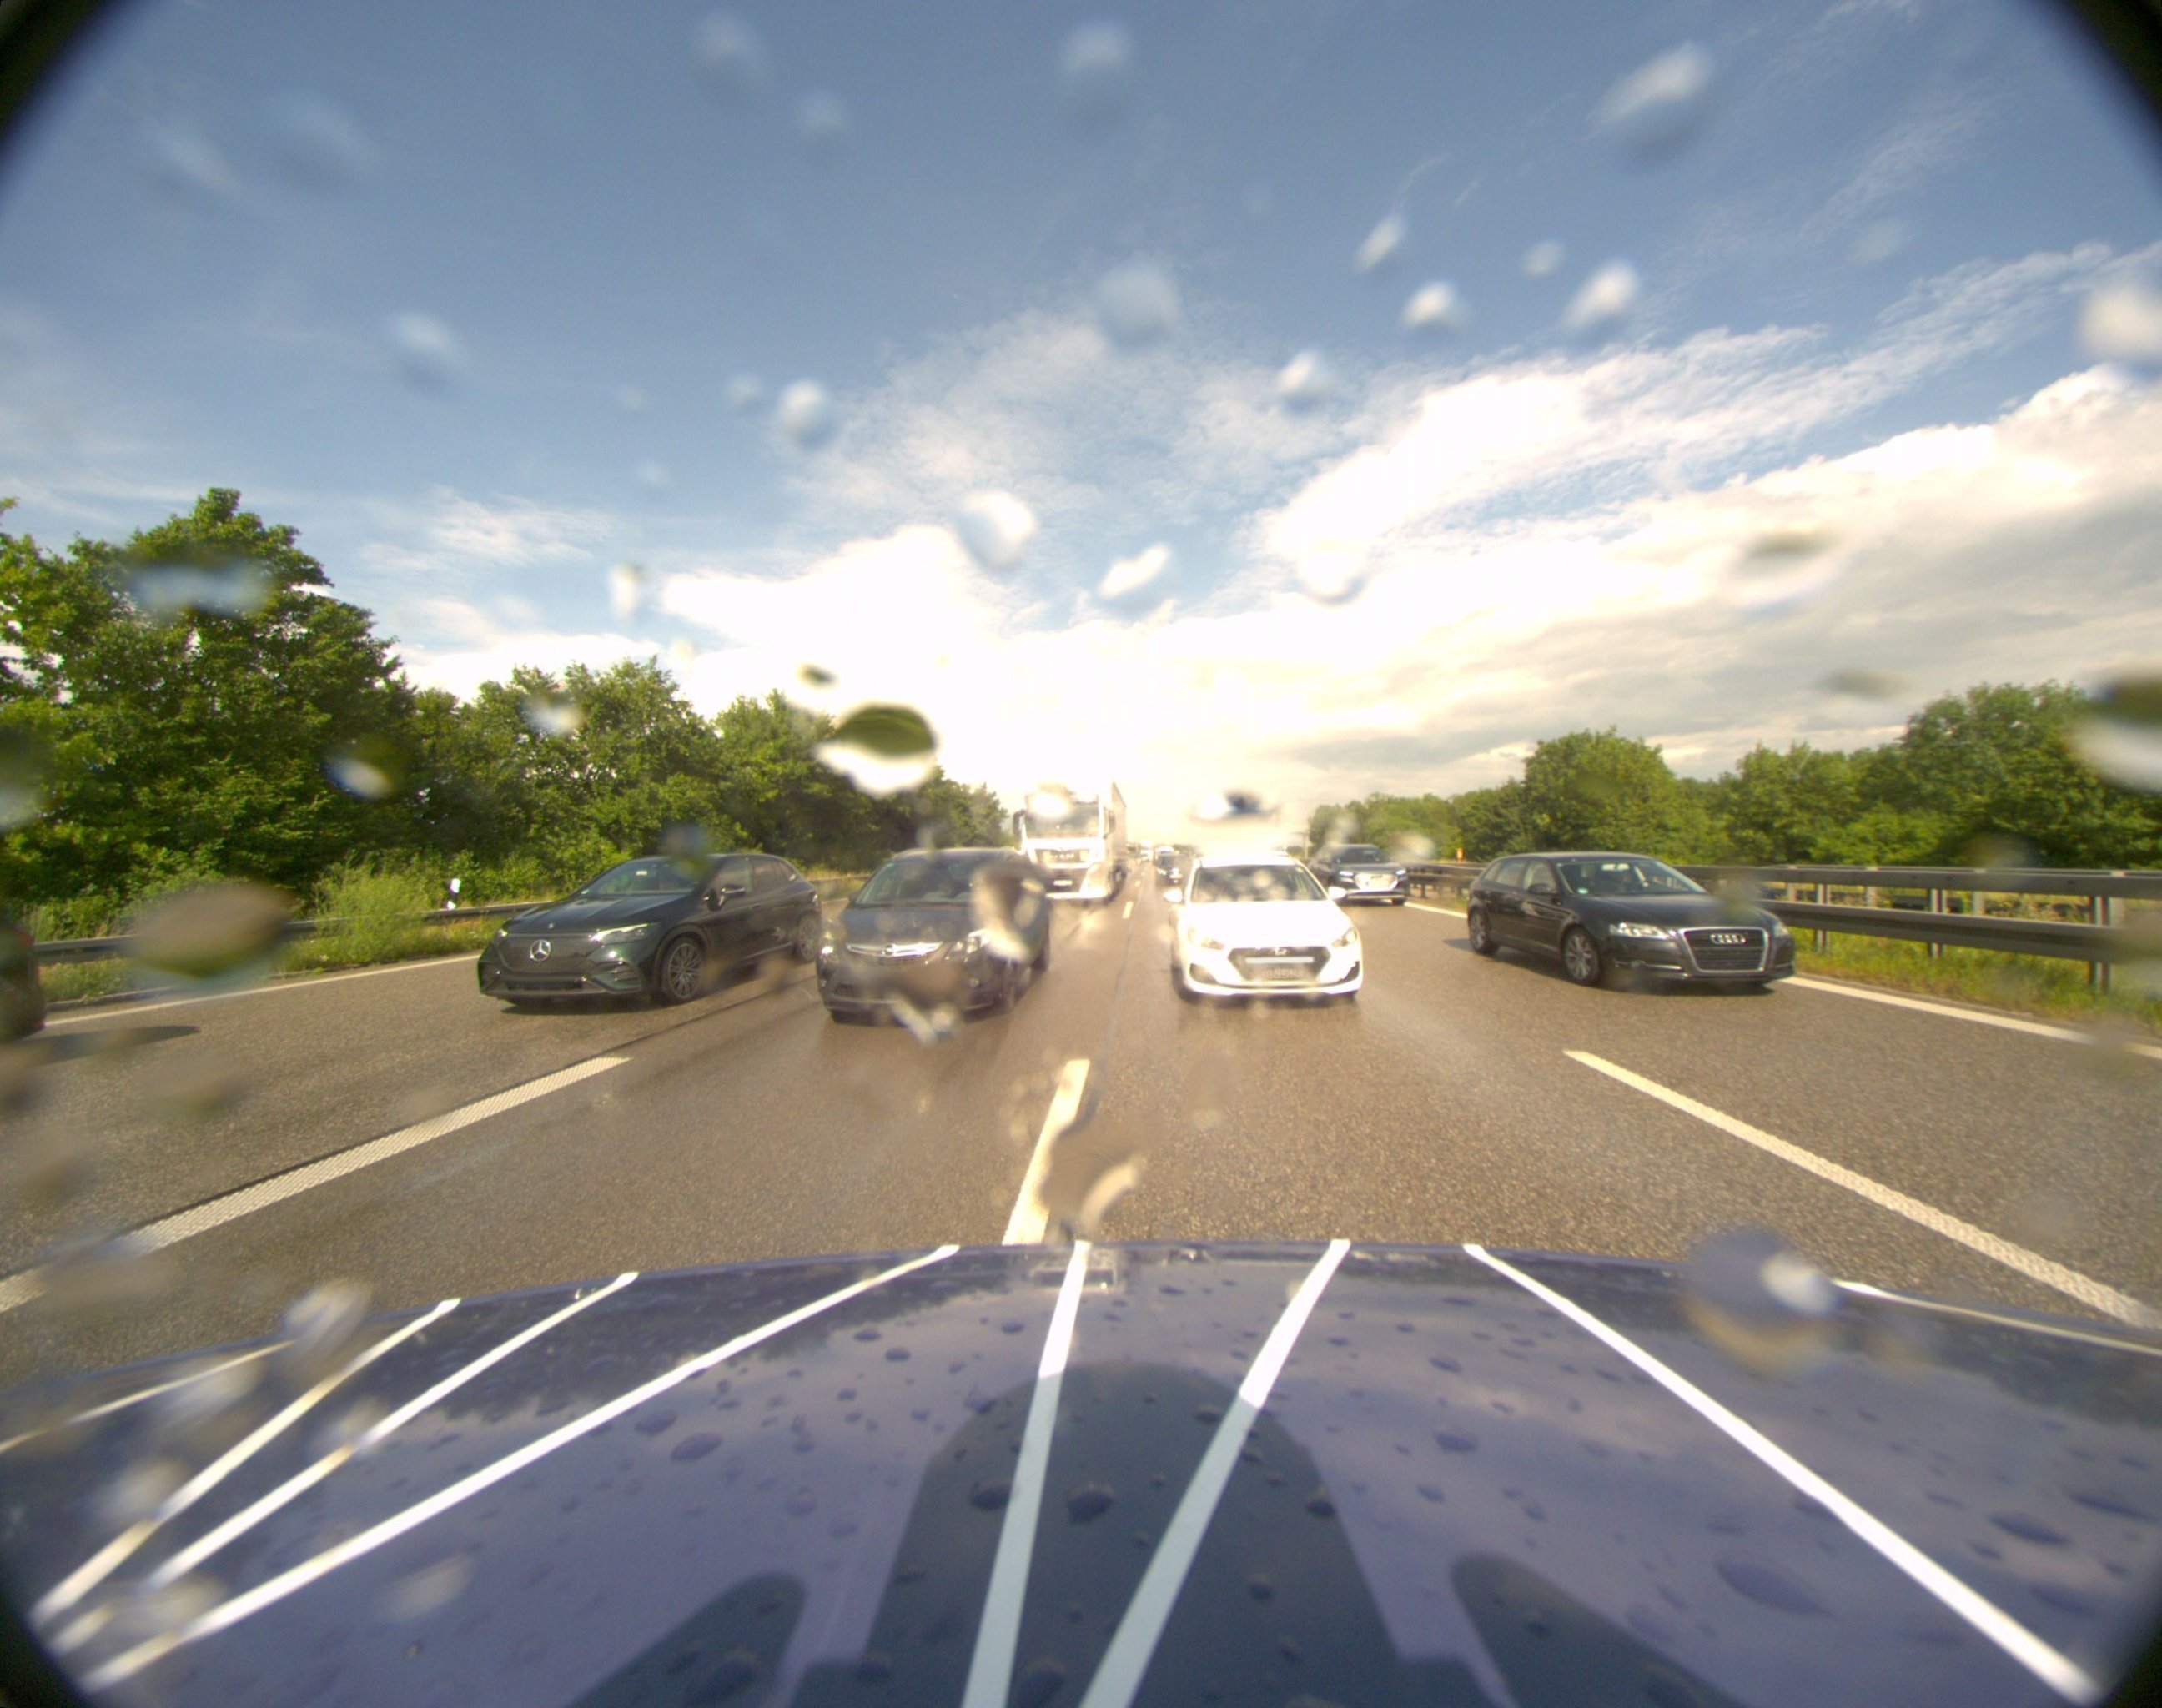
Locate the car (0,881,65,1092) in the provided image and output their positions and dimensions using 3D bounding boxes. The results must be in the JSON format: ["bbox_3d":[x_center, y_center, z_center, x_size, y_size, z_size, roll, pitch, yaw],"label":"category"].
[{"bbox_3d":[-9.417,1.073,4.090,1.824,1.611,4.365,-2,0,5],"label":"car"}]

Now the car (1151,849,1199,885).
[{"bbox_3d":[4.332,0.570,35.464,1.998,1.477,4.000,-2,1,4],"label":"car"}]

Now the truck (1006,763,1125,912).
[{"bbox_3d":[-0.235,-0.490,25.060,2.816,4.083,7.448,-2,1,6],"label":"truck"}]

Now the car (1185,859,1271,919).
[{"bbox_3d":[3.734,0.833,19.915,1.728,1.330,4.288,-1,0,5],"label":"car"}]

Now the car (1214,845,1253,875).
[{"bbox_3d":[10.116,0.352,50.557,1.998,1.739,4.000,-3,1,4],"label":"car"}]

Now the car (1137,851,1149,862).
[{"bbox_3d":[10.667,0.462,130.707,1.998,1.687,4.000,-3,1,4],"label":"car"}]

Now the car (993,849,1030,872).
[{"bbox_3d":[-4.768,0.426,52.980,1.791,1.454,4.507,-2,1,4],"label":"car"}]

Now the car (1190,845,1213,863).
[{"bbox_3d":[12.448,0.015,78.878,1.998,1.687,4.000,-3,1,4],"label":"car"}]

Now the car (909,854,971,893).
[{"bbox_3d":[-6.402,0.821,34.910,1.752,1.577,4.287,-2,1,3],"label":"car"}]

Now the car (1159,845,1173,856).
[{"bbox_3d":[14.273,-0.664,127.898,1.998,1.687,4.000,-3,1,4],"label":"car"}]

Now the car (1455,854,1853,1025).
[{"bbox_3d":[6.088,0.773,8.814,1.770,1.417,4.140,-2,1,6],"label":"car"}]

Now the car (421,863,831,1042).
[{"bbox_3d":[-5.056,0.962,9.453,1.998,1.572,4.654,-1,0,5],"label":"car"}]

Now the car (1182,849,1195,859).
[{"bbox_3d":[20.214,0.028,142.967,1.998,1.687,4.000,-3,1,4],"label":"car"}]

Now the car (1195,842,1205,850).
[{"bbox_3d":[28.635,-1.929,182.774,1.998,1.768,4.462,-1,0,5],"label":"car"}]

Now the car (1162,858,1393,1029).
[{"bbox_3d":[1.981,0.821,9.044,1.885,1.446,4.549,-1,0,5],"label":"car"}]

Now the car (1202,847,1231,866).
[{"bbox_3d":[11.777,0.201,66.306,1.998,1.471,4.000,-3,1,4],"label":"car"}]

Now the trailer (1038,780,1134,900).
[{"bbox_3d":[0.565,-0.553,32.348,2.789,4.083,11.542,-2,1,6],"label":"trailer"}]

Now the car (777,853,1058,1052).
[{"bbox_3d":[-1.456,0.837,8.590,1.883,1.638,4.397,-1,0,5],"label":"car"}]

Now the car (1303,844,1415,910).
[{"bbox_3d":[7.488,0.552,20.878,1.874,1.597,4.230,-1,1,6],"label":"car"}]

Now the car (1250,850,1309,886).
[{"bbox_3d":[8.610,0.567,33.236,1.771,1.371,4.000,-1,1,4],"label":"car"}]

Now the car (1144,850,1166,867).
[{"bbox_3d":[7.336,0.449,75.526,1.998,1.471,4.000,-3,1,4],"label":"car"}]
